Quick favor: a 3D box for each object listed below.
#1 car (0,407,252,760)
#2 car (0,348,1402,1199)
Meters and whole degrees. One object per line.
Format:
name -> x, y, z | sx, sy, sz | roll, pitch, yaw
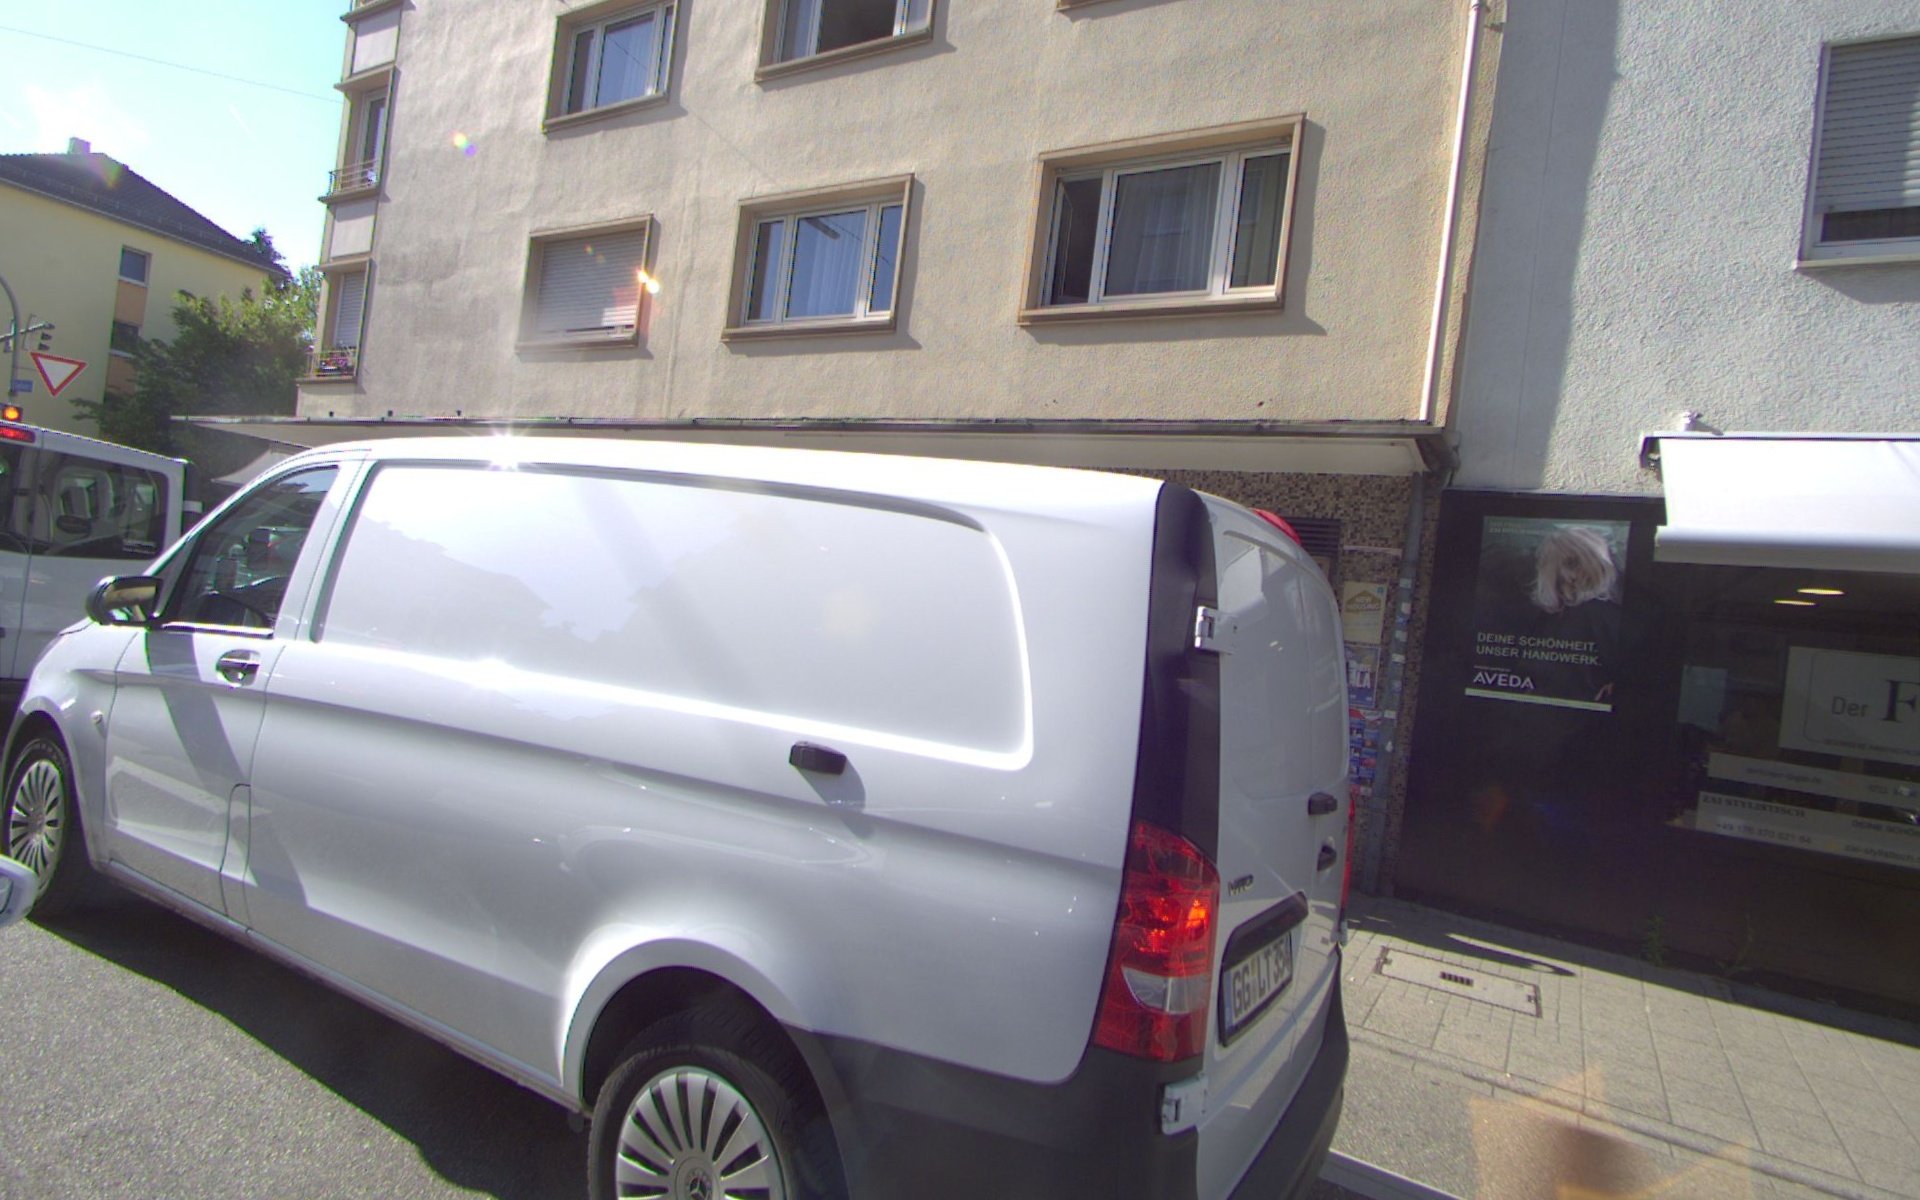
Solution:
car -> -7.427, -0.300, 7.130 | 4.813, 2.001, 1.998 | 7, -2, 31
car -> -1.327, 0.407, 3.499 | 4.912, 1.891, 1.840 | 7, -1, 30
